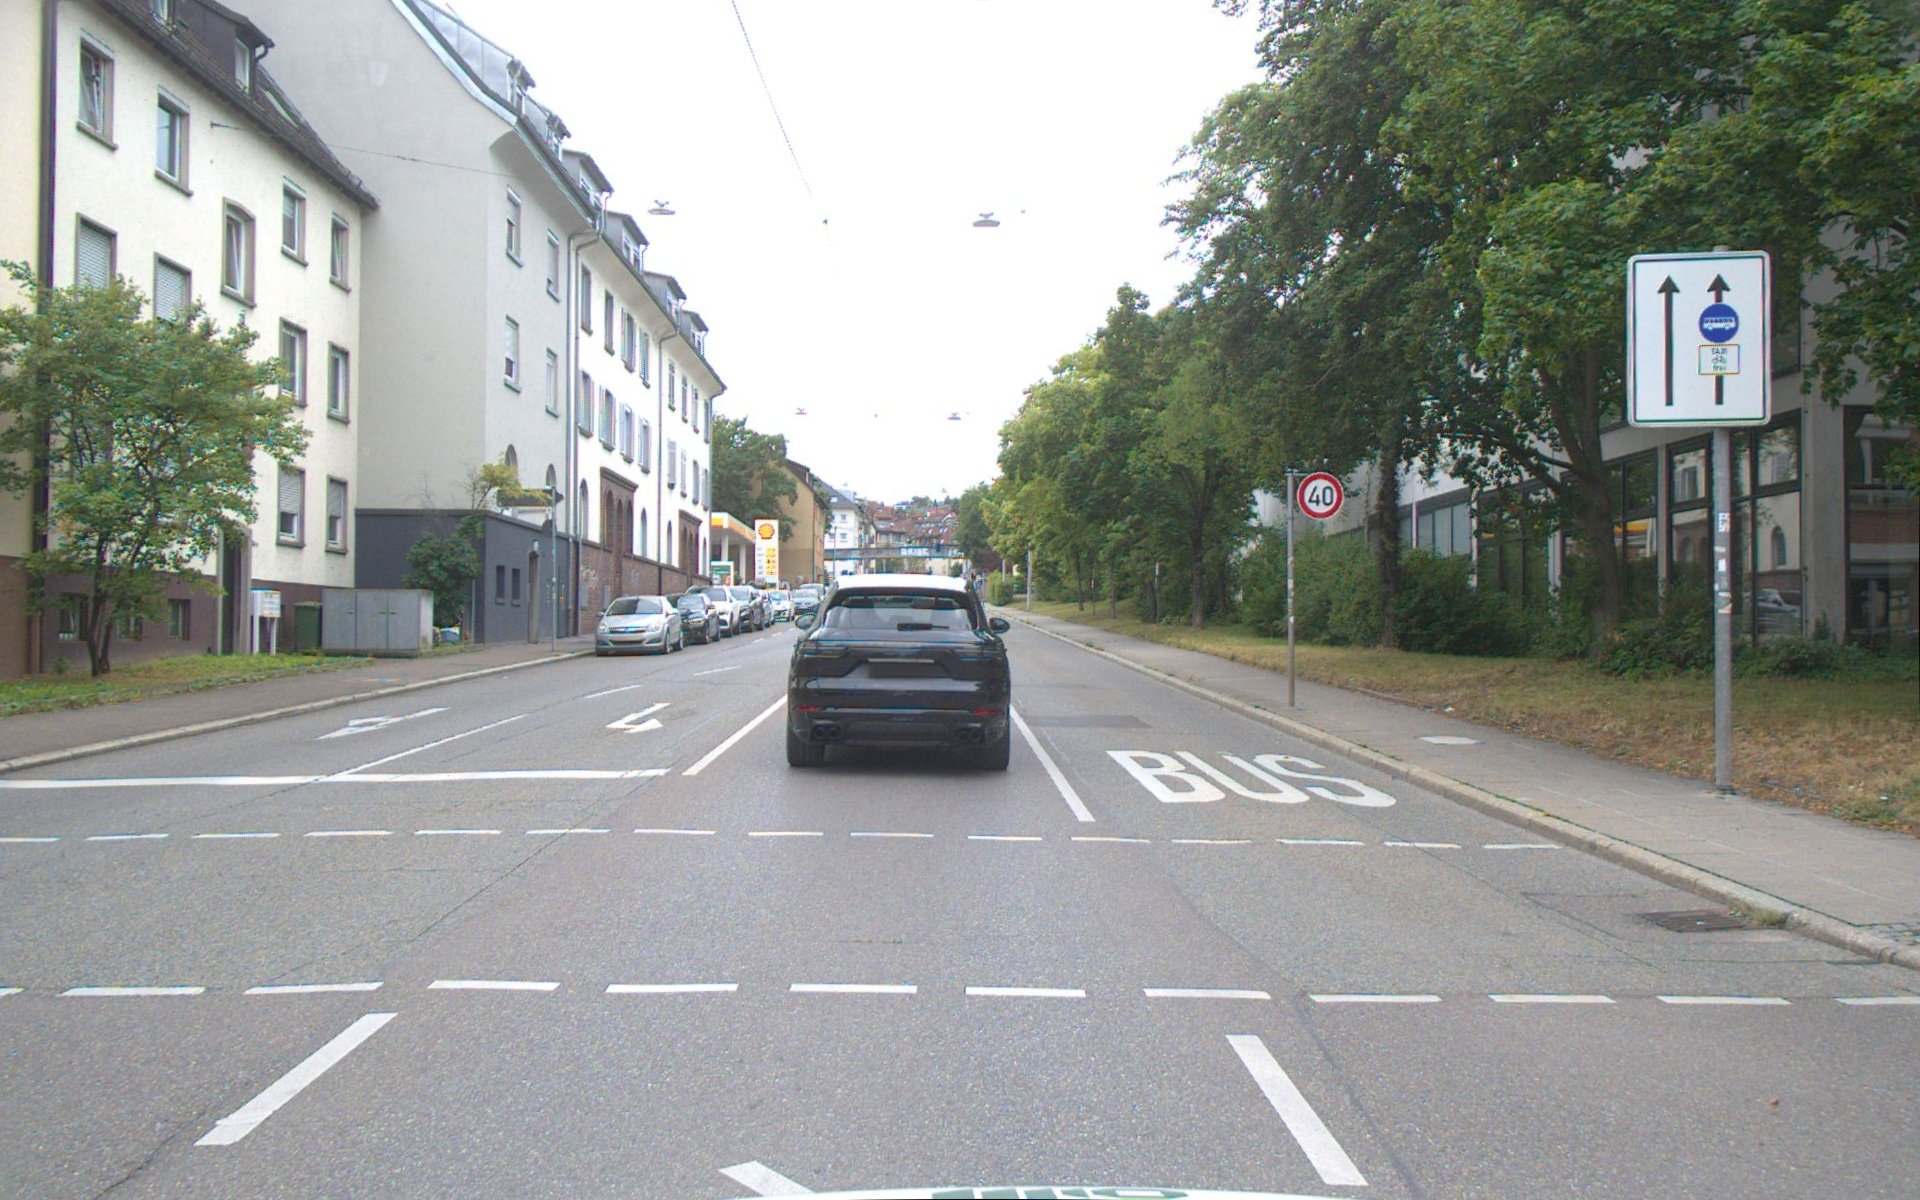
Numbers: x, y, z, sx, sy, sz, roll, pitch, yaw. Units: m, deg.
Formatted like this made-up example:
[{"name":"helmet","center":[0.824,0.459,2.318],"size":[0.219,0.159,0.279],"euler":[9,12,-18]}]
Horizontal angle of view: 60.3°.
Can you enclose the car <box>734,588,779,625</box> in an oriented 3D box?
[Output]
[{"name":"car","center":[-8.523,0.267,69.456],"size":[1.516,1.501,3.603],"euler":[0,0,-2]}]

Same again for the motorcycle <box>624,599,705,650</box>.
[{"name":"motorcycle","center":[-7.877,0.638,44.105],"size":[2.009,1.257,0.803],"euler":[-2,1,-19]}]

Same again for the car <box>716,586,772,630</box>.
[{"name":"car","center":[-8.390,0.305,64.527],"size":[1.692,1.585,4.080],"euler":[-2,0,-2]}]

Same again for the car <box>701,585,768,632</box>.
[{"name":"car","center":[-8.052,0.272,59.349],"size":[1.691,1.627,4.502],"euler":[0,1,1]}]

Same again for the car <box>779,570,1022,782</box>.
[{"name":"car","center":[-0.512,0.590,15.449],"size":[1.953,1.691,3.999],"euler":[1,1,-1]}]

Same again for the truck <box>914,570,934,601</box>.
[{"name":"truck","center":[-4.259,-1.686,194.415],"size":[2.221,3.484,9.875],"euler":[0,0,-1]}]

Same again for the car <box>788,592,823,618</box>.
[{"name":"car","center":[-9.029,0.260,96.871],"size":[1.754,1.475,4.217],"euler":[-1,0,-1]}]

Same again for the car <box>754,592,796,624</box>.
[{"name":"car","center":[-8.765,0.381,78.584],"size":[1.586,1.450,3.664],"euler":[0,1,-1]}]

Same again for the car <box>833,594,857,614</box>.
[{"name":"car","center":[-10.064,0.347,145.061],"size":[1.746,1.637,4.264],"euler":[-2,0,0]}]

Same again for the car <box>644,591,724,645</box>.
[{"name":"car","center":[-7.916,0.478,47.735],"size":[1.692,1.454,4.190],"euler":[0,1,-2]}]

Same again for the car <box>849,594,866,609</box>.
[{"name":"car","center":[-10.889,0.151,175.196],"size":[1.711,1.596,3.906],"euler":[-1,0,-3]}]

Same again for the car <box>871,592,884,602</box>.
[{"name":"car","center":[-12.593,-0.433,252.816],"size":[1.729,1.534,3.999],"euler":[0,0,-1]}]

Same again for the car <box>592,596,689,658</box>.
[{"name":"car","center":[-7.739,0.609,40.427],"size":[1.692,1.398,4.335],"euler":[0,1,-3]}]

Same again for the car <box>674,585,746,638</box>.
[{"name":"car","center":[-8.128,0.334,54.055],"size":[1.808,1.649,4.641],"euler":[0,1,-2]}]

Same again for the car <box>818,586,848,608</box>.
[{"name":"car","center":[-9.438,-0.214,123.091],"size":[1.876,1.605,4.699],"euler":[0,0,-1]}]
